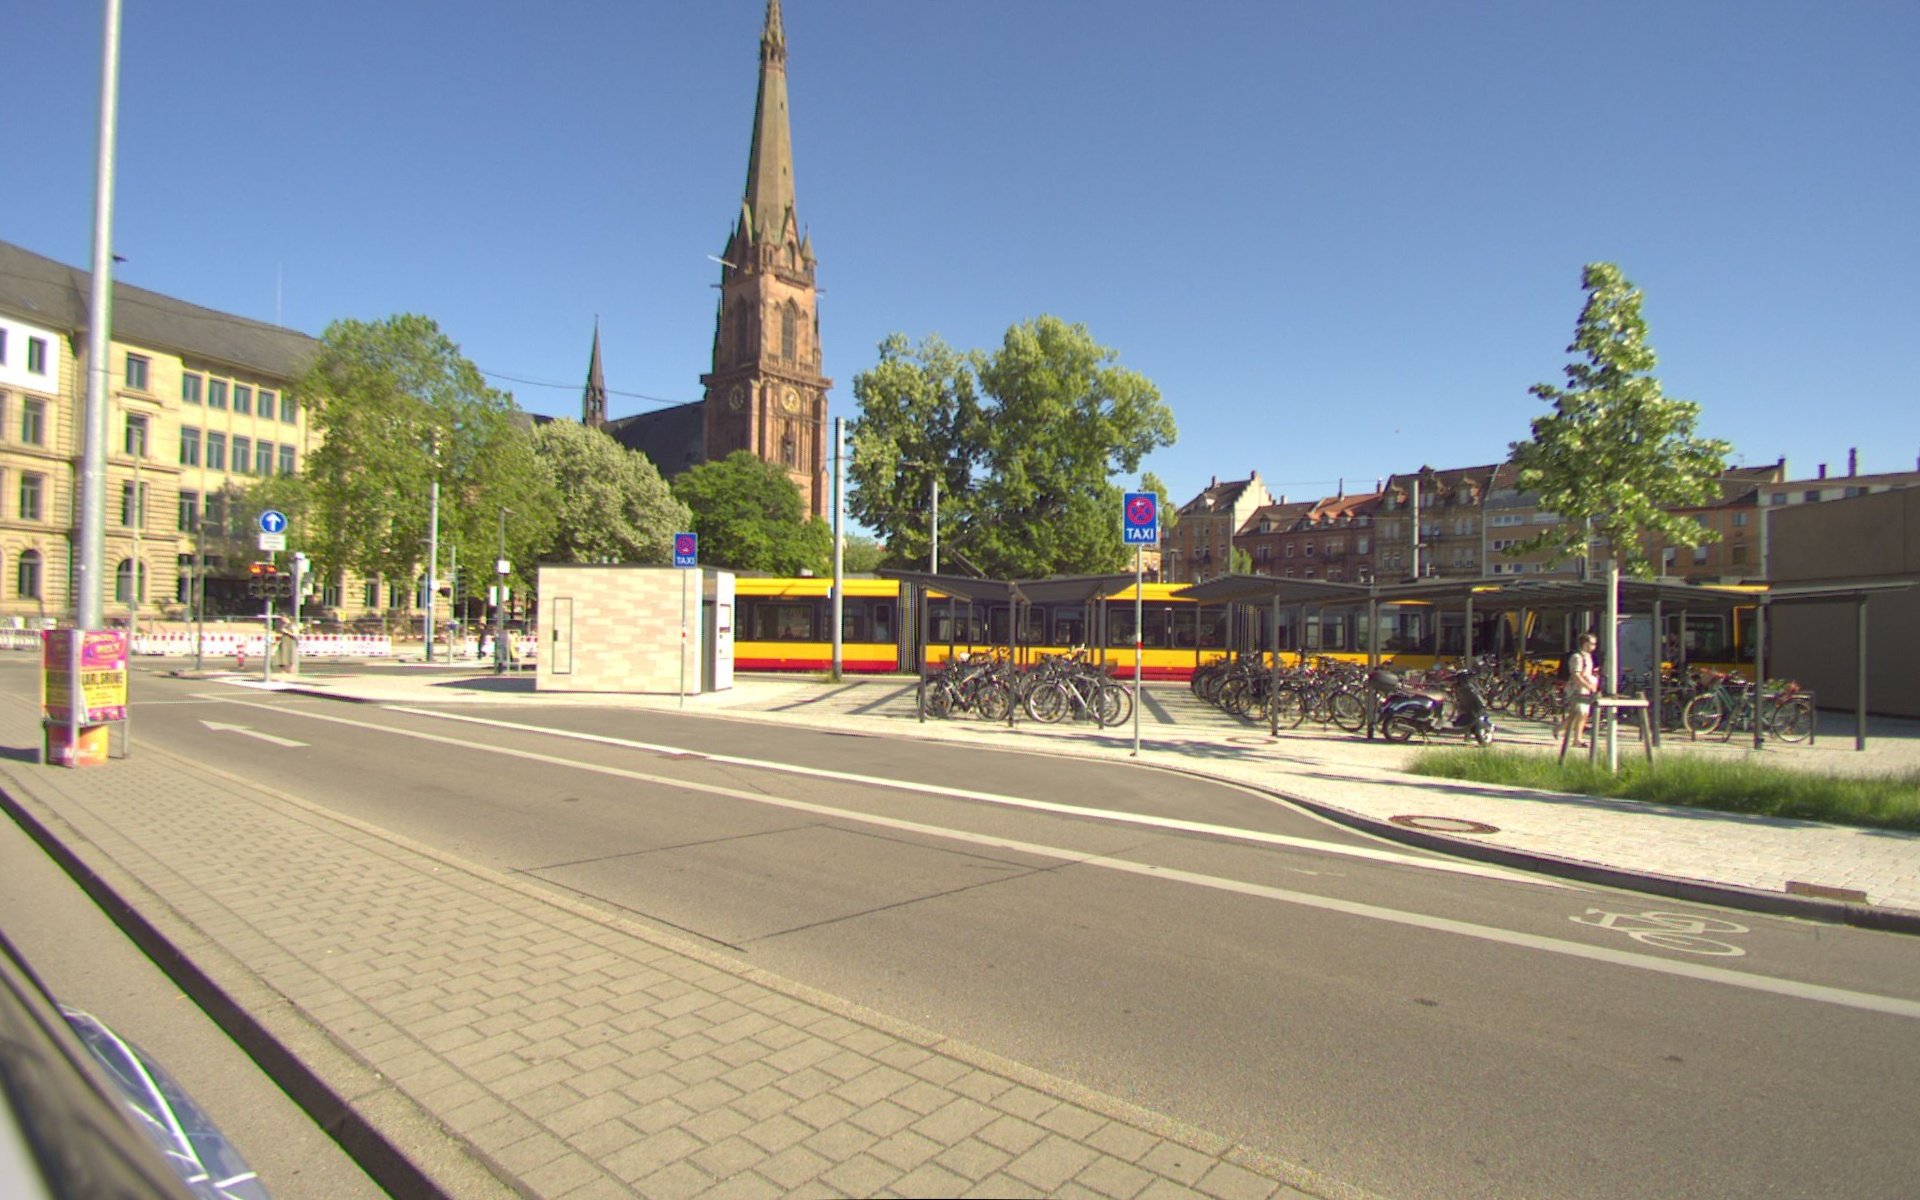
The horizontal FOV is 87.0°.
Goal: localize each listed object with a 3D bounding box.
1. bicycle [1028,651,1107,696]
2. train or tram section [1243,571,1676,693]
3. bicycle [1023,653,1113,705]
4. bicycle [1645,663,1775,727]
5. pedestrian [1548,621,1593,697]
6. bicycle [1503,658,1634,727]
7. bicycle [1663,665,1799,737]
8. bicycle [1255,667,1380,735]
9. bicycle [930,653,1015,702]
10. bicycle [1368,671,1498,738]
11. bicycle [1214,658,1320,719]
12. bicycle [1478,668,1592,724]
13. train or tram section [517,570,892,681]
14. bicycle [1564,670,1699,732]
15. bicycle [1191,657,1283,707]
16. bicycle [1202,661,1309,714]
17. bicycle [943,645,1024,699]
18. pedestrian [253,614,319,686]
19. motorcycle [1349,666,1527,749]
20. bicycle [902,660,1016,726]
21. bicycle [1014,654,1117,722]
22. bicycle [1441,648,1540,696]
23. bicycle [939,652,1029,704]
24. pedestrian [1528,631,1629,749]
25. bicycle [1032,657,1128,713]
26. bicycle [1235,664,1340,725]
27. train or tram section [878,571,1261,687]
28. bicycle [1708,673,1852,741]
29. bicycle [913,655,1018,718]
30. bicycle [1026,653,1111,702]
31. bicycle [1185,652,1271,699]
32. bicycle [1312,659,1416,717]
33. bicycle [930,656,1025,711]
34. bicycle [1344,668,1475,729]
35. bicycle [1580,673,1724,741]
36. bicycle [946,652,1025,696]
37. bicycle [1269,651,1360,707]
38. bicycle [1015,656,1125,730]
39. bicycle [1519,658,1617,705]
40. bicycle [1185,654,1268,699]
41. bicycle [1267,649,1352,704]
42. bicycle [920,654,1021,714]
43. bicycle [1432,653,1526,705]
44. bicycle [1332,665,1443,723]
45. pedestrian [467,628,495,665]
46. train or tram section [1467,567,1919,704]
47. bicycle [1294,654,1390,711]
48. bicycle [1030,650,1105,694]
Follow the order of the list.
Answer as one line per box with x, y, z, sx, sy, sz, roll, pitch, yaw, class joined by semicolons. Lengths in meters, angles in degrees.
2.503;1.705;23.616;1.808;1.015;0.627;0;-2;7;bicycle
15.607;0.983;32.522;12.174;3.628;2.828;0;-2;6;train or tram section
2.222;1.610;20.855;1.808;1.015;0.627;0;-2;7;bicycle
13.583;1.713;18.367;1.808;1.101;0.627;0;-2;7;bicycle
15.380;1.467;25.497;0.700;1.869;0.751;2;-2;-38;pedestrian
11.290;1.701;18.808;2.029;1.218;0.505;0;-2;8;bicycle
12.984;1.684;17.071;1.805;1.155;0.629;0;-2;0;bicycle
5.970;1.676;16.985;1.871;1.050;0.688;0;-2;9;bicycle
0.282;1.693;22.178;1.809;1.015;0.627;0;-2;9;bicycle
7.760;1.702;16.657;1.808;1.015;0.627;0;-2;7;bicycle
5.869;1.682;19.417;1.859;1.101;0.626;0;-2;8;bicycle
11.255;1.870;19.848;1.809;1.015;0.627;0;-2;9;bicycle
-8.710;0.855;35.095;12.382;3.628;2.796;0;-2;6;train or tram section
11.596;1.739;17.532;1.872;1.004;0.499;0;-2;13;bicycle
5.962;1.757;21.813;1.805;1.015;0.629;0;-2;0;bicycle
5.942;1.761;20.438;1.978;1.015;0.628;0;-2;4;bicycle
0.555;1.649;23.422;1.809;1.188;0.627;0;-2;9;bicycle
-18.072;1.329;27.138;0.825;1.869;1.215;-1;-2;34;pedestrian
7.161;1.602;15.240;2.333;1.167;0.610;0;-2;7;motorcycle
-0.001;1.585;17.378;1.847;1.015;0.699;2;-2;9;bicycle
1.902;1.579;18.283;1.808;1.157;0.627;0;-2;7;bicycle
11.680;1.575;22.314;1.809;1.015;0.627;0;-2;9;bicycle
0.505;1.617;21.147;1.809;1.015;0.627;0;-2;9;bicycle
9.445;1.343;15.481;0.824;1.718;1.028;1;-2;-26;pedestrian
2.314;1.636;19.548;1.808;1.015;0.745;0;-2;7;bicycle
5.846;1.685;18.139;1.731;1.015;0.547;0;-2;10;bicycle
3.499;0.936;33.806;12.174;3.628;2.796;0;-2;6;train or tram section
13.013;1.691;16.084;1.803;1.015;0.629;1;-2;-3;bicycle
0.109;1.540;18.244;1.809;1.074;0.627;0;-2;9;bicycle
2.370;1.689;22.130;1.808;1.015;0.627;0;-2;7;bicycle
6.114;1.721;23.117;1.807;1.015;0.628;0;-2;5;bicycle
8.067;1.746;20.269;1.808;1.088;0.627;0;-2;7;bicycle
0.353;1.637;19.991;1.809;1.015;0.627;0;-2;9;bicycle
7.912;1.729;17.883;2.003;1.015;0.627;0;-2;7;bicycle
11.152;1.720;16.356;1.809;1.015;0.627;0;-2;9;bicycle
0.612;1.753;24.121;1.809;1.015;0.627;0;-2;9;bicycle
7.921;1.767;22.685;1.808;1.198;0.647;0;-2;7;bicycle
1.858;1.557;17.140;1.808;1.167;0.627;1;-2;7;bicycle
14.046;1.878;23.413;1.808;1.015;0.627;0;-2;7;bicycle
6.244;1.786;23.805;1.808;1.015;0.627;0;-2;6;bicycle
8.229;1.784;23.883;1.808;1.242;0.627;0;-2;7;bicycle
0.205;1.546;18.772;1.809;1.059;0.571;0;-2;9;bicycle
11.993;1.812;23.410;1.809;1.140;0.627;0;-2;9;bicycle
7.993;1.748;18.977;1.808;1.015;0.627;0;-2;7;bicycle
-23.257;2.260;49.165;0.923;1.754;0.805;0;-2;5;pedestrian
21.372;0.959;28.713;12.179;3.628;2.748;0;-2;7;train or tram section
8.103;1.745;21.535;1.808;1.170;0.627;0;-2;7;bicycle
2.625;1.760;24.816;1.808;1.015;0.627;0;-2;7;bicycle
